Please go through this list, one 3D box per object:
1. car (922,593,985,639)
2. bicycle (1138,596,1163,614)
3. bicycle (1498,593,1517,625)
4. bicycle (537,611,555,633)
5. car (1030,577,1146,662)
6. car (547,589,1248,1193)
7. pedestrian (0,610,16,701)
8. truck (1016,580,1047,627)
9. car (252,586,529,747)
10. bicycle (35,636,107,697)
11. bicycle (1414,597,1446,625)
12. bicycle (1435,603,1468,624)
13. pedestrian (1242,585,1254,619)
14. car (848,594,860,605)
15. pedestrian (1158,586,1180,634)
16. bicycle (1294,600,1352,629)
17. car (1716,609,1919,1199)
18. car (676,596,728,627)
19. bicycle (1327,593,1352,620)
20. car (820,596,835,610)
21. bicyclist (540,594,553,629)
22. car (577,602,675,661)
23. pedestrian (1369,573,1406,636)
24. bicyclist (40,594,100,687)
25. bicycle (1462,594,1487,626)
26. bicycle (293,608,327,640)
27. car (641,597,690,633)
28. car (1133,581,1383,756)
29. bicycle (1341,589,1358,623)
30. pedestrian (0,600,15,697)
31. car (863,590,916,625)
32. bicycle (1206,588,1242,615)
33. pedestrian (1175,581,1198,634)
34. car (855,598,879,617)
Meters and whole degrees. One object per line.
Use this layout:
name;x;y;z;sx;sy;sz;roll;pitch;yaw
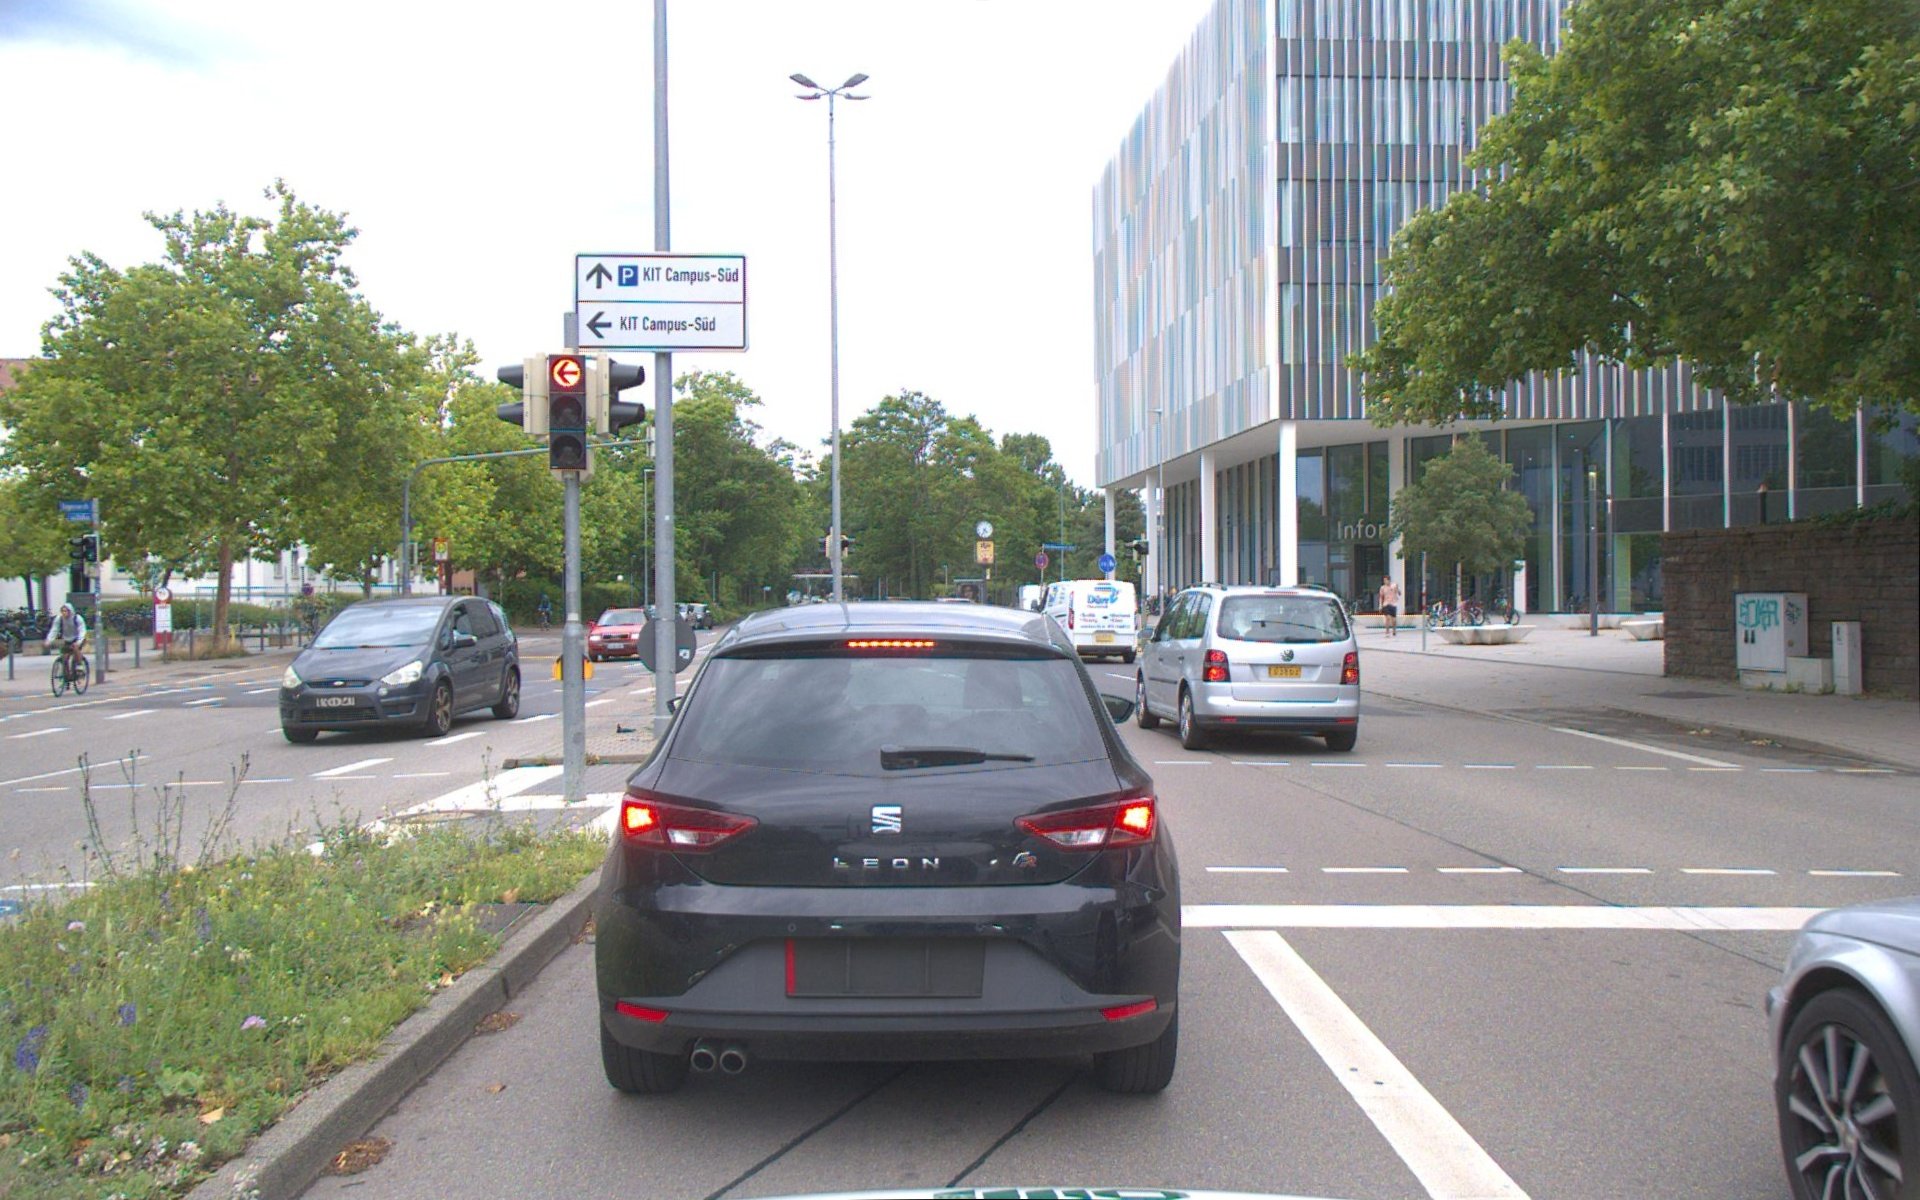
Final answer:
car;-0.282;0.577;63.132;1.912;1.652;3.743;1;1;-8
bicycle;10.602;0.264;92.213;1.357;0.958;0.488;-1;1;6
bicycle;19.611;0.308;59.233;0.609;1.074;1.950;-2;1;19
bicycle;-20.048;1.058;80.163;0.478;1.023;1.590;1;1;-1
car;3.159;0.441;41.699;1.930;2.007;4.335;1;0;-9
car;-0.106;0.702;5.968;1.717;1.457;3.770;1;0;1
pedestrian;-17.123;0.988;29.114;0.778;1.585;0.695;0;-3;-21
truck;3.593;0.139;83.957;1.291;2.282;3.401;-2;1;-1
car;-6.850;0.735;20.428;1.882;1.693;4.398;-2;0;-1
bicycle;-16.331;1.206;30.405;0.654;1.081;1.616;1;-1;-9
bicycle;17.564;0.390;61.846;0.682;0.963;1.981;-2;1;29
bicycle;18.190;0.492;61.180;1.515;0.728;0.511;-3;1;-44
pedestrian;12.045;0.087;69.159;0.462;1.385;0.446;-2;0;9
car;-13.164;-0.059;205.133;1.475;1.214;3.160;-2;1;-4
pedestrian;7.294;0.344;57.753;0.673;1.668;0.632;1;0;-1
bicycle;12.416;0.494;56.641;1.860;0.914;0.693;-2;1;-22
car;2.840;0.781;2.149;1.687;1.439;4.244;1;1;-1
car;-15.151;0.662;97.306;1.721;1.615;4.004;-2;1;12
bicycle;15.533;0.262;67.679;0.607;1.064;1.704;-2;1;25
car;-15.943;0.377;198.846;1.663;1.530;4.003;-2;1;-7
bicyclist;-20.038;0.560;80.151;0.481;1.653;0.588;1;1;-2
car;-9.140;0.829;45.598;1.678;1.443;4.295;-2;1;1
pedestrian;12.479;0.114;48.297;0.830;1.795;0.767;-2;1;-1
bicyclist;-16.295;0.741;30.306;0.654;1.664;0.959;1;-1;-9
bicycle;18.705;0.345;60.144;0.792;1.074;1.950;-2;1;19
bicycle;-23.322;0.852;59.372;0.596;1.079;2.041;-2;1;-7
car;-15.361;0.758;86.382;1.868;1.746;3.999;-2;1;-1
car;3.000;0.626;17.496;1.695;1.631;4.103;0;0;-3
bicycle;15.282;0.244;64.882;0.515;1.275;1.667;-2;1;17
pedestrian;-18.012;0.913;30.607;0.829;1.770;0.824;-1;-4;-25
car;-3.676;0.390;85.732;1.883;1.693;4.098;-2;1;-15
bicycle;12.472;0.074;78.179;1.758;1.232;0.563;-3;1;-35
pedestrian;7.912;0.261;57.775;0.673;1.812;0.677;0;0;-1
car;-7.579;0.594;134.693;1.861;1.377;3.879;-2;1;-4
